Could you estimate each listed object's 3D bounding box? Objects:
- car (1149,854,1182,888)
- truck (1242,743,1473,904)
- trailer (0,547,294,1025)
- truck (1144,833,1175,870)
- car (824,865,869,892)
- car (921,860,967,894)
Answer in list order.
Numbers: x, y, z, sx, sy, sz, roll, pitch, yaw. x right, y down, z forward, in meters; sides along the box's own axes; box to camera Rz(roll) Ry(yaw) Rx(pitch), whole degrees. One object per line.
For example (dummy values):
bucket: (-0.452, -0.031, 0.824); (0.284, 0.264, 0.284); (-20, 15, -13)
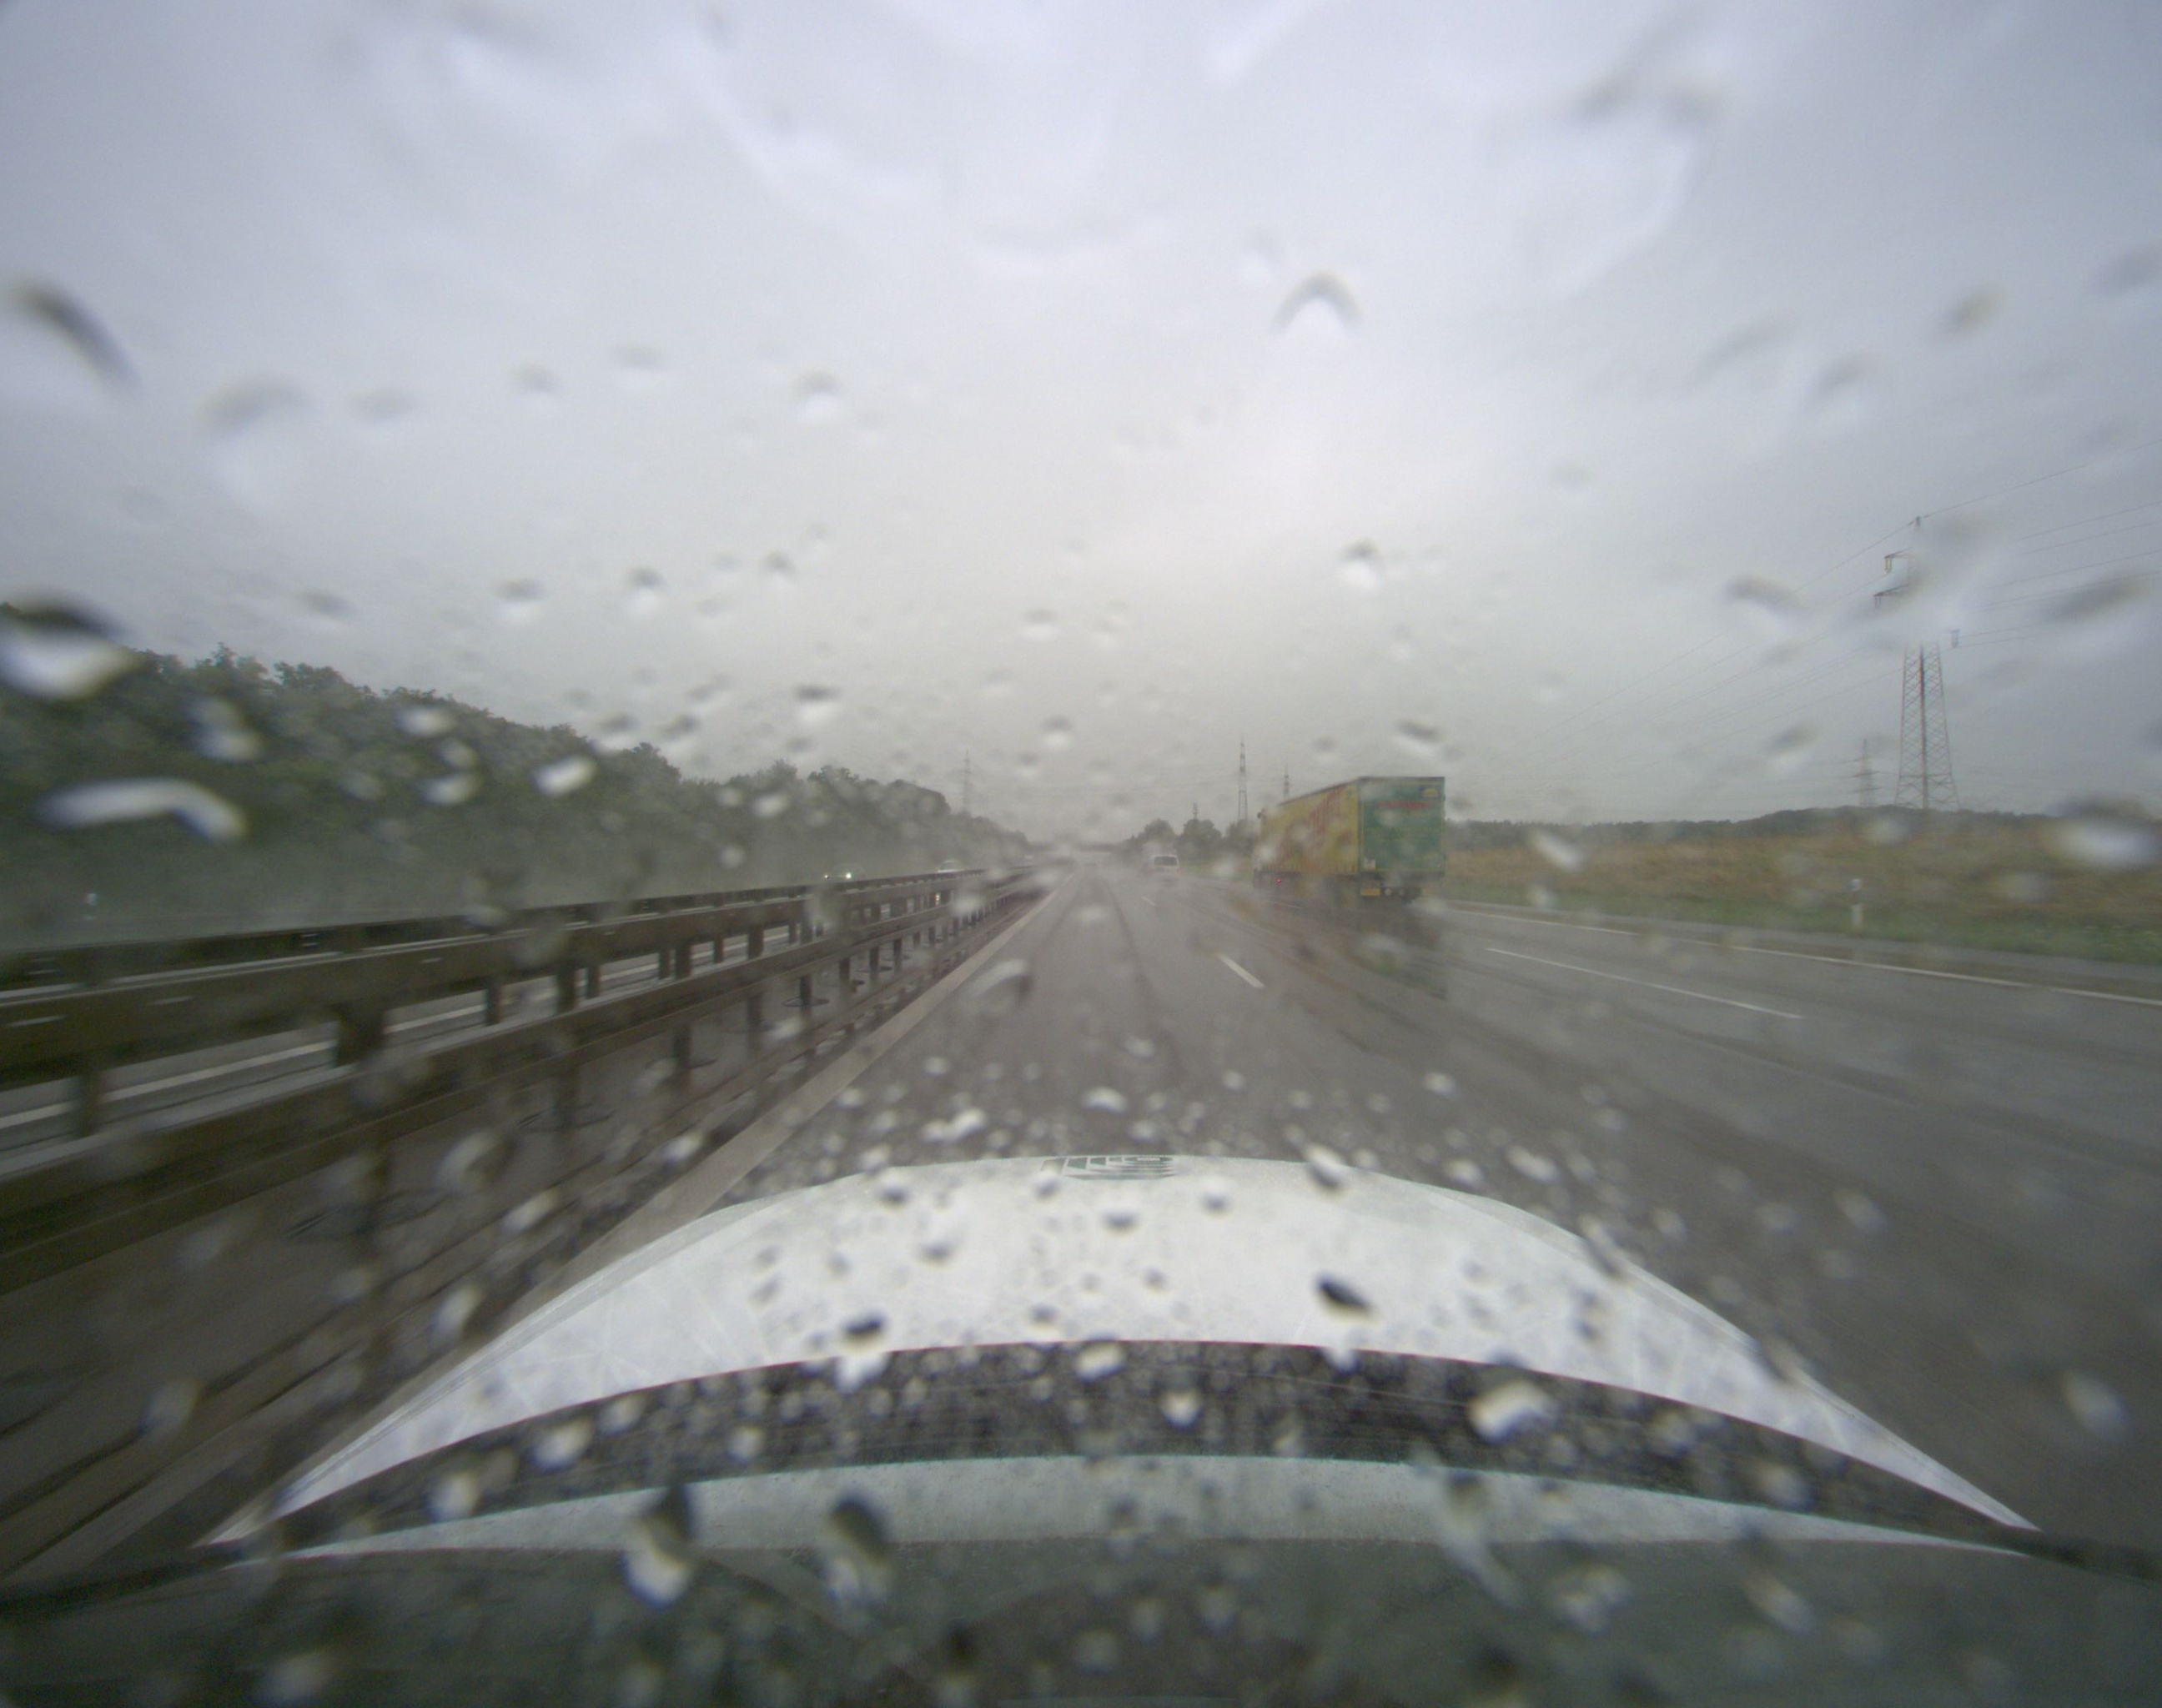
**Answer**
car: (5.347, 1.014, 51.388); (1.983, 2.013, 4.007); (-1, 0, 6)
truck: (9.715, -0.835, 31.991); (4.172, 4.630, 16.115); (-1, 0, 3)
trailer: (-11.654, -0.600, 2.603); (3.517, 4.301, 14.686); (-1, 0, 2)
truck: (9.615, -0.327, 100.438); (3.219, 4.311, 8.843); (-1, 0, 3)
car: (-15.518, 1.592, 54.188); (1.617, 1.574, 4.004); (-1, 1, 3)
car: (-8.620, 1.401, 51.499); (1.985, 2.014, 4.003); (-1, -1, 3)
